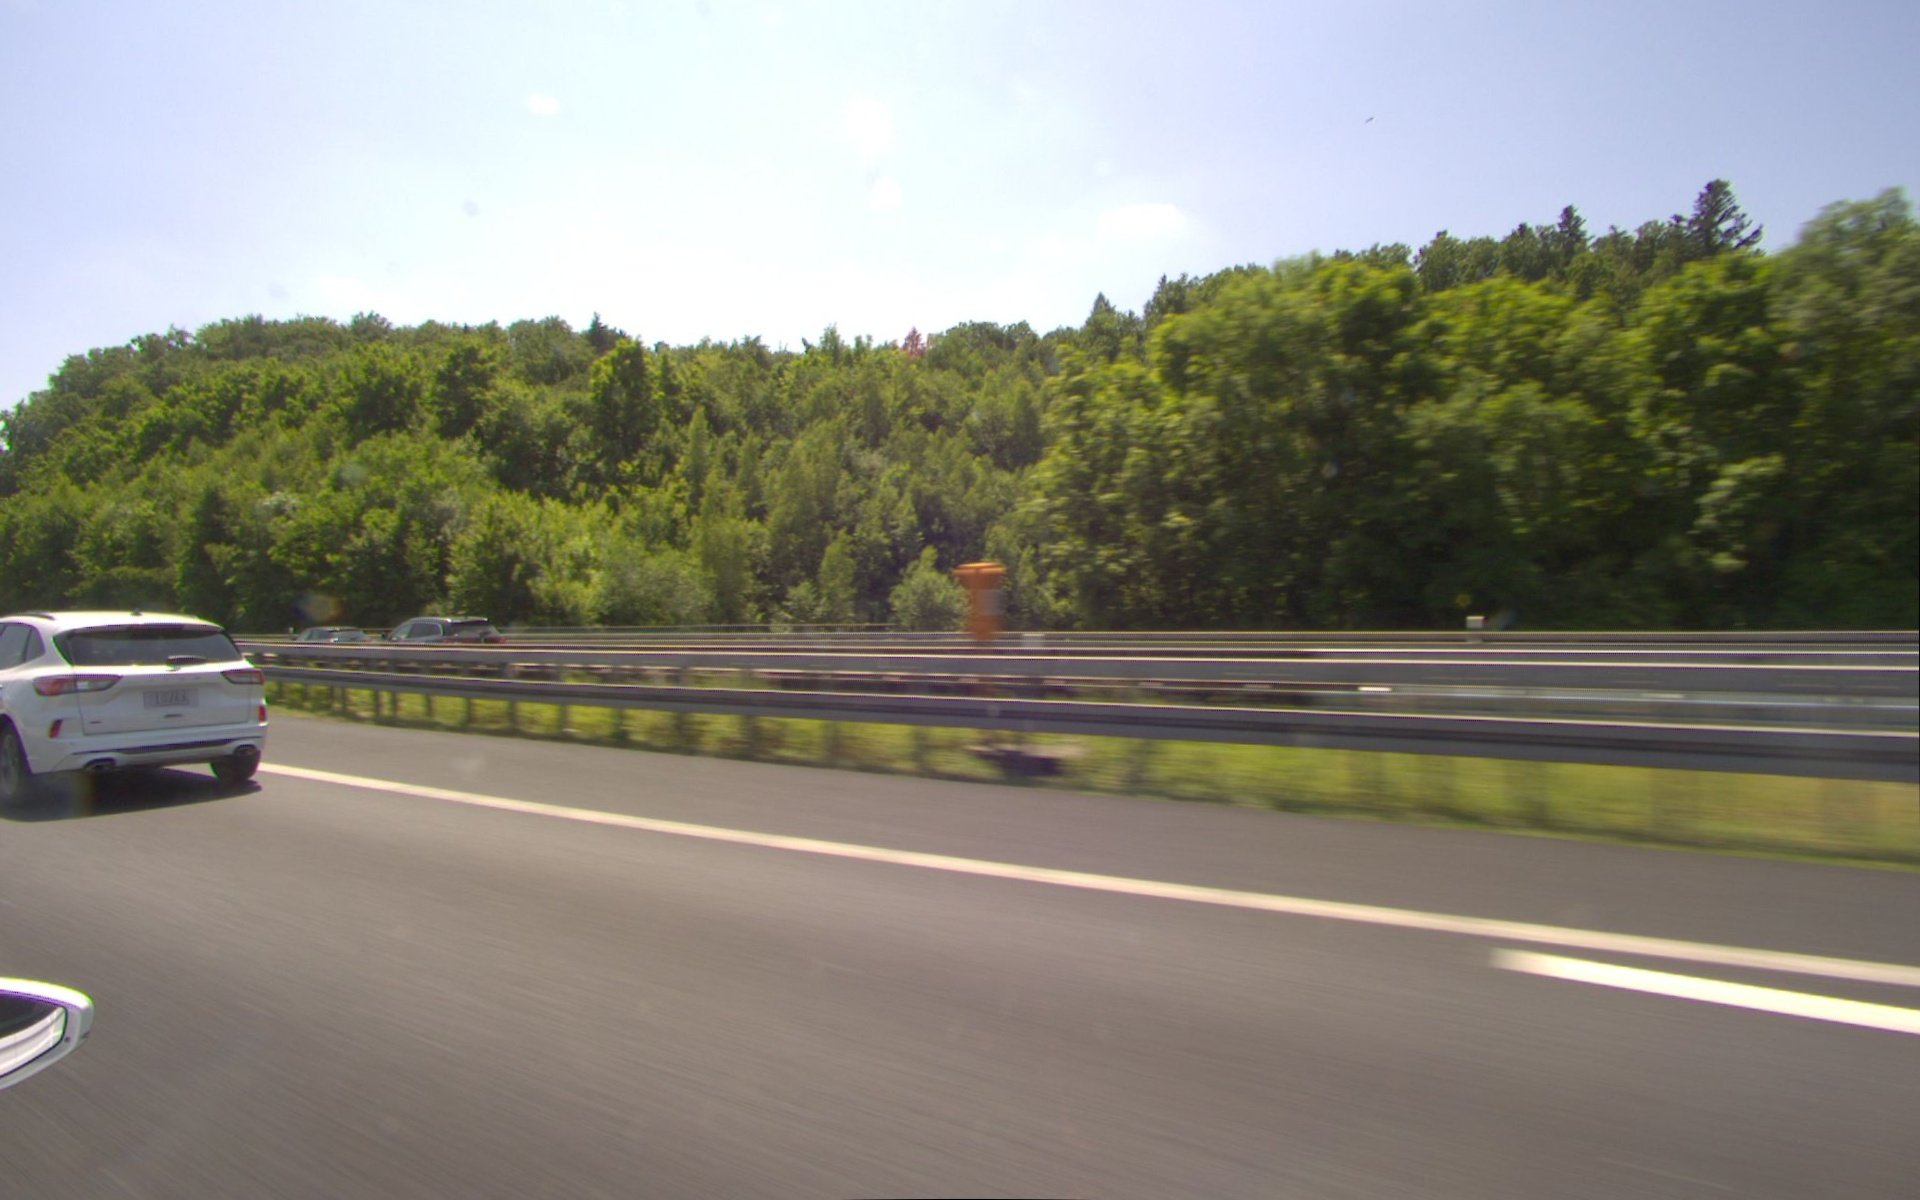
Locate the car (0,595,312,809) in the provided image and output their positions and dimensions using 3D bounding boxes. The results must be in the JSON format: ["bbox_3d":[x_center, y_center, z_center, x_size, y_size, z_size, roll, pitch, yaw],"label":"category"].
[{"bbox_3d":[-8.581,0.880,9.939,4.405,1.683,1.989,-2,-1,33],"label":"car"}]

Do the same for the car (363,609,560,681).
[{"bbox_3d":[-12.876,1.145,25.726,5.548,1.683,1.989,-2,-1,33],"label":"car"}]

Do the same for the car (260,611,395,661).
[{"bbox_3d":[-22.822,1.281,36.099,5.151,1.683,1.991,-1,-1,31],"label":"car"}]
